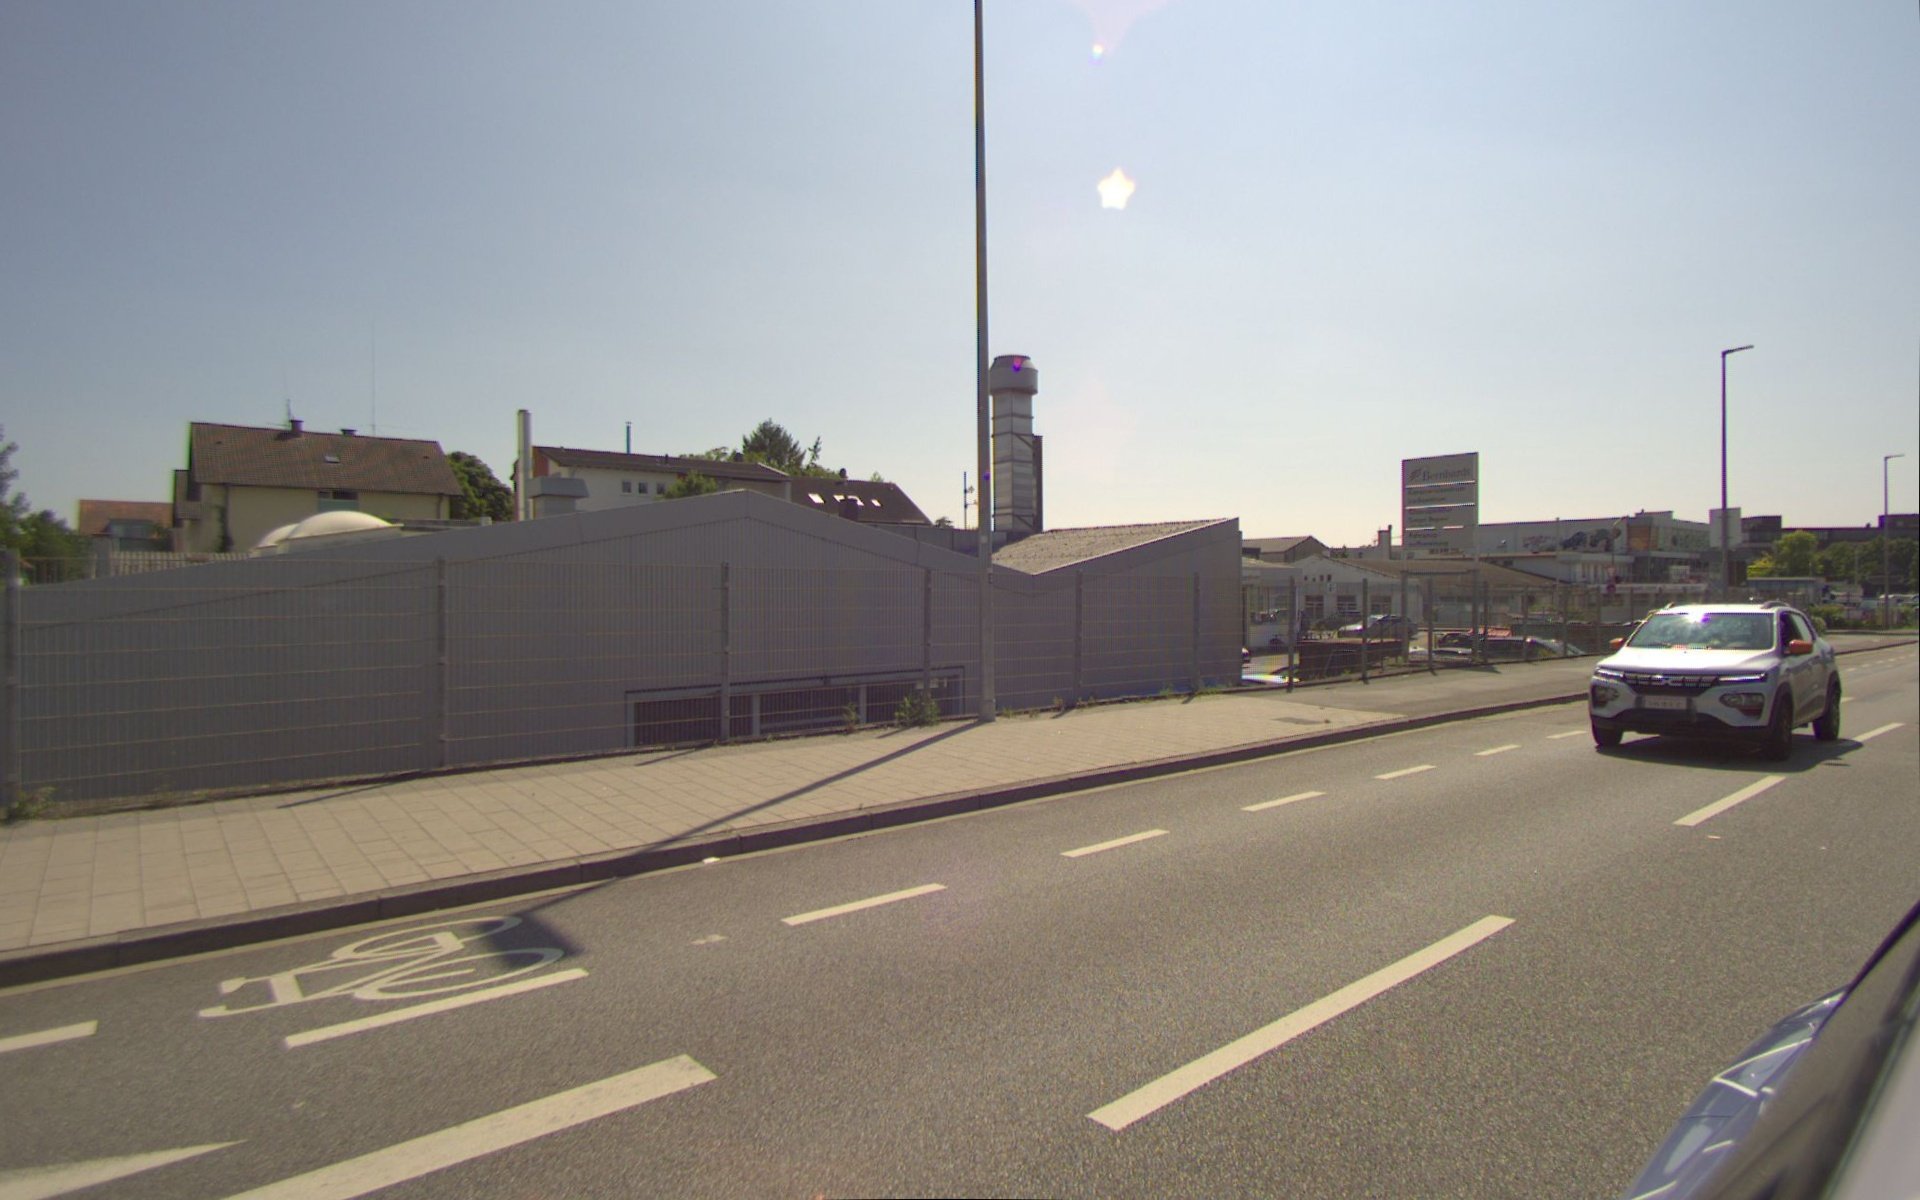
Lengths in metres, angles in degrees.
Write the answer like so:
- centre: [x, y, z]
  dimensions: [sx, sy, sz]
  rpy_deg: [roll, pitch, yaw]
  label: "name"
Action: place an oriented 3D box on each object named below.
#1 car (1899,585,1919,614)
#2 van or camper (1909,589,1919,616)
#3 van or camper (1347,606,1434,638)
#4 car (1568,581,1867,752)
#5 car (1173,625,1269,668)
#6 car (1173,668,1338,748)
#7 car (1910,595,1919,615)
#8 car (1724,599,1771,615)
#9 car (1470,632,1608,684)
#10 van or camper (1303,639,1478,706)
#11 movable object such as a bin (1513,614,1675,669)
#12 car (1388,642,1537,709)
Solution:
- centre: [97.029, -0.047, 99.835]
  dimensions: [2.278, 2.906, 6.242]
  rpy_deg: [0, 0, -39]
  label: "car"
- centre: [99.664, 0.245, 101.397]
  dimensions: [2.664, 2.734, 6.362]
  rpy_deg: [0, 0, -39]
  label: "van or camper"
- centre: [24.589, 1.239, 57.835]
  dimensions: [4.141, 1.561, 2.006]
  rpy_deg: [-1, 5, -13]
  label: "van or camper"
- centre: [8.078, 0.687, 10.705]
  dimensions: [3.610, 1.504, 1.725]
  rpy_deg: [4, -4, -40]
  label: "car"
- centre: [12.274, 2.153, 47.762]
  dimensions: [1.967, 1.682, 3.992]
  rpy_deg: [-3, 2, -42]
  label: "car"
- centre: [7.929, 2.844, 27.527]
  dimensions: [1.960, 1.854, 4.001]
  rpy_deg: [0, -2, -31]
  label: "car"
- centre: [95.383, 0.519, 97.675]
  dimensions: [1.964, 1.976, 5.245]
  rpy_deg: [1, 1, -40]
  label: "car"
- centre: [92.952, 0.813, 119.499]
  dimensions: [1.966, 1.755, 4.109]
  rpy_deg: [0, 0, -43]
  label: "car"
- centre: [21.236, 2.082, 37.242]
  dimensions: [1.965, 1.672, 3.993]
  rpy_deg: [0, -1, -41]
  label: "car"
- centre: [12.603, 2.059, 29.815]
  dimensions: [1.987, 1.672, 4.315]
  rpy_deg: [0, -1, -44]
  label: "van or camper"
- centre: [25.505, 1.691, 40.908]
  dimensions: [1.964, 2.040, 5.123]
  rpy_deg: [0, -3, -40]
  label: "movable object such as a bin"
- centre: [16.803, 2.494, 33.988]
  dimensions: [1.965, 2.040, 3.992]
  rpy_deg: [0, -3, -41]
  label: "car"
